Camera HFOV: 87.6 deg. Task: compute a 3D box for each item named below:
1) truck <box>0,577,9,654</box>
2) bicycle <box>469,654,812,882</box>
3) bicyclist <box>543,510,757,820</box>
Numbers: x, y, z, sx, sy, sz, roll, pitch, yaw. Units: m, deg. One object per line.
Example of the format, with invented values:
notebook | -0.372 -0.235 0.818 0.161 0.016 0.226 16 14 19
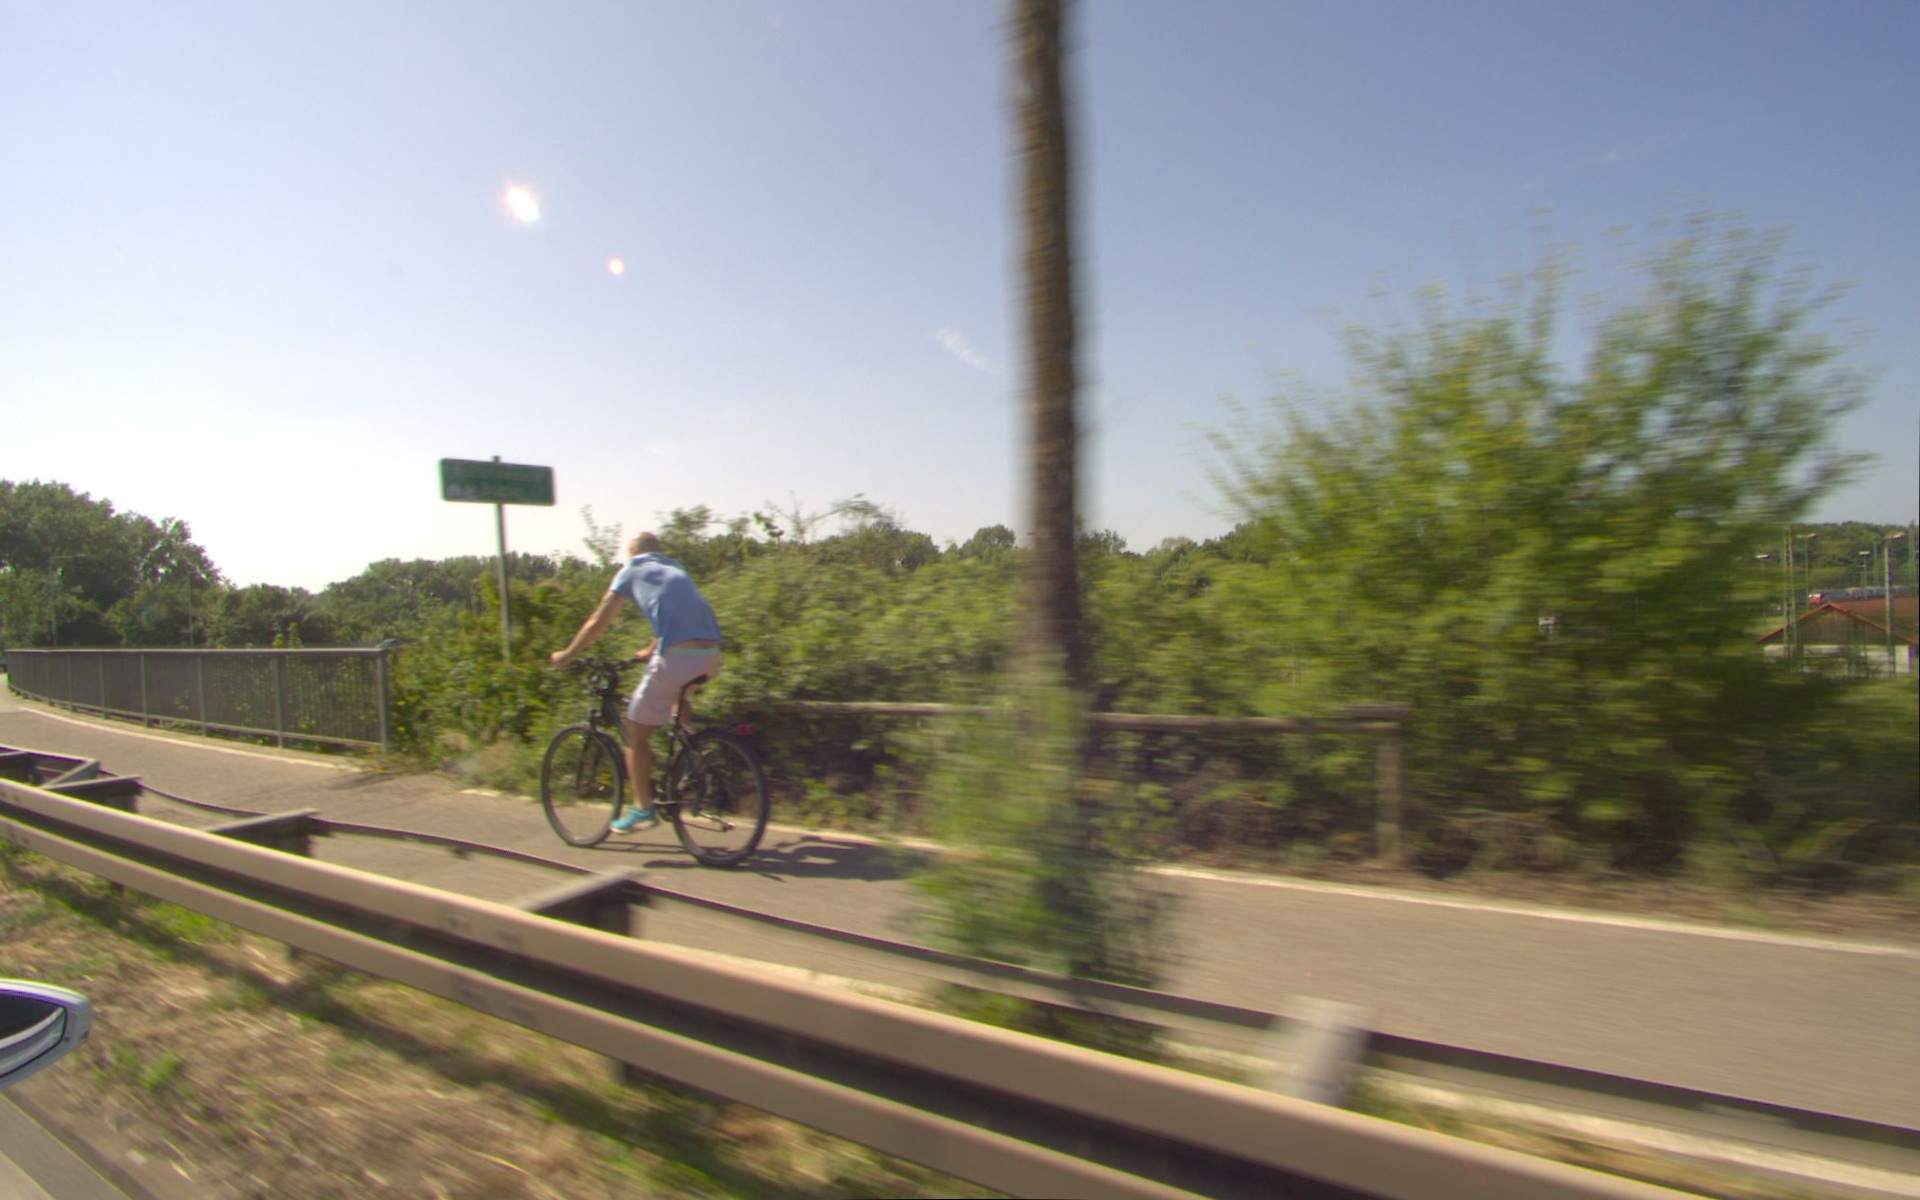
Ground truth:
truck | -47.787 0.702 47.007 3.230 3.806 8.314 2 -2 -35
bicycle | -1.788 0.857 5.539 1.818 1.033 0.701 -2 2 29
bicyclist | -1.674 0.334 5.449 0.791 1.540 0.657 -3 2 28
